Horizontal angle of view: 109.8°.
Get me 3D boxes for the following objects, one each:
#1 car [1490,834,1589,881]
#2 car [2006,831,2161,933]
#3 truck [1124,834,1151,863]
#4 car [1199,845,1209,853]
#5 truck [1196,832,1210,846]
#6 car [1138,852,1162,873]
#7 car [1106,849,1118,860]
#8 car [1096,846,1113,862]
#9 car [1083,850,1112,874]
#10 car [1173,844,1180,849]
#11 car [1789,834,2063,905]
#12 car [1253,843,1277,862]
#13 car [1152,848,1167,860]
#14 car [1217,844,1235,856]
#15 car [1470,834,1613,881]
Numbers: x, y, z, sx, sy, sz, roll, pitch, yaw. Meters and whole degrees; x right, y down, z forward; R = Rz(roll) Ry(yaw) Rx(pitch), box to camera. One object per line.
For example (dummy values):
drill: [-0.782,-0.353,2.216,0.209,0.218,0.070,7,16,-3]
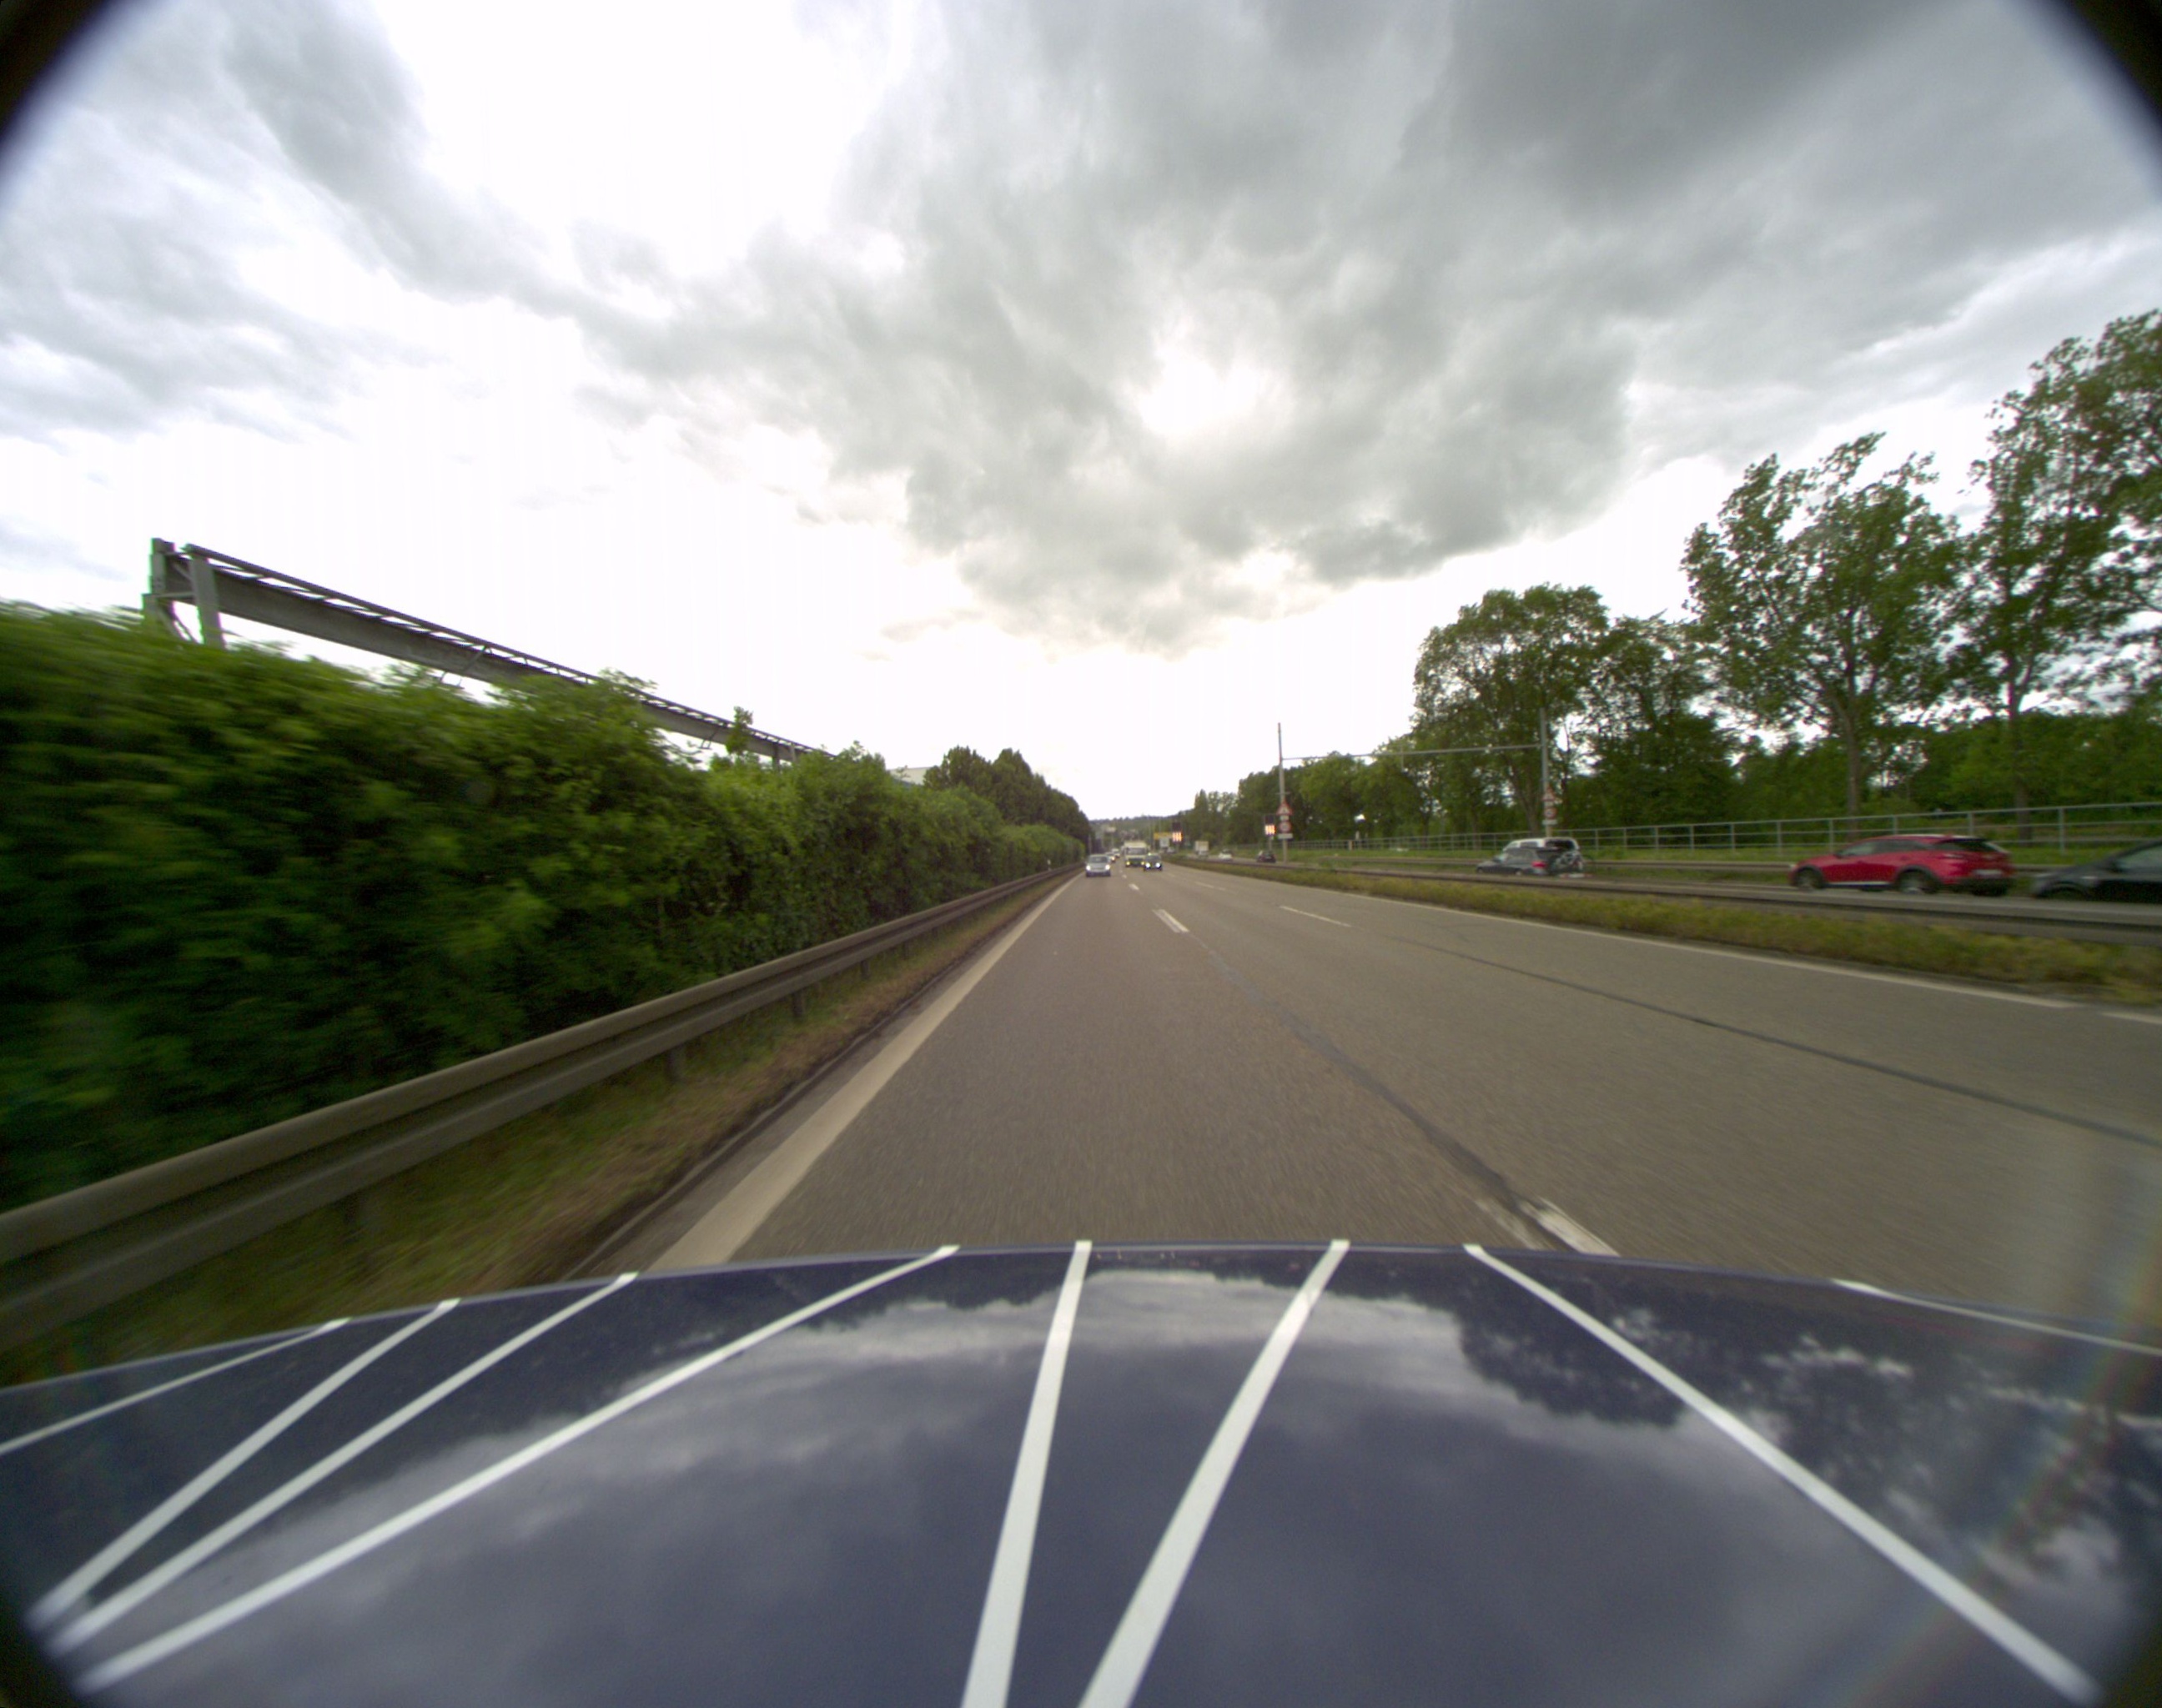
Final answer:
car: [19.987,0.125,33.385,1.614,1.873,4.561,-2,0,1]
car: [16.085,0.384,10.583,1.664,1.415,3.911,-2,0,1]
truck: [6.859,-0.615,93.912,2.656,3.120,12.511,-3,0,2]
car: [26.017,-1.103,160.756,1.701,1.595,4.539,0,0,3]
truck: [32.337,-3.884,201.088,2.895,3.558,9.590,-2,0,5]
car: [6.253,0.777,69.460,1.883,1.714,4.147,-3,0,2]
car: [5.413,0.118,132.039,1.883,1.714,4.147,-3,0,2]
car: [2.768,0.006,89.746,1.883,1.714,4.147,-3,0,2]
car: [1.215,0.574,53.244,1.883,1.530,4.147,-3,0,2]
car: [31.788,-2.547,253.227,1.882,1.714,4.148,-3,0,5]
car: [19.868,0.316,18.213,1.722,1.456,4.380,-2,0,1]
car: [18.754,-0.161,77.643,1.730,1.764,3.742,-2,0,3]
car: [11.870,0.008,115.304,1.883,1.714,4.147,-3,0,2]
car: [21.454,-0.543,112.764,1.871,1.665,4.719,-1,0,2]
car: [16.403,0.095,27.501,1.866,1.456,5.550,-2,0,1]
